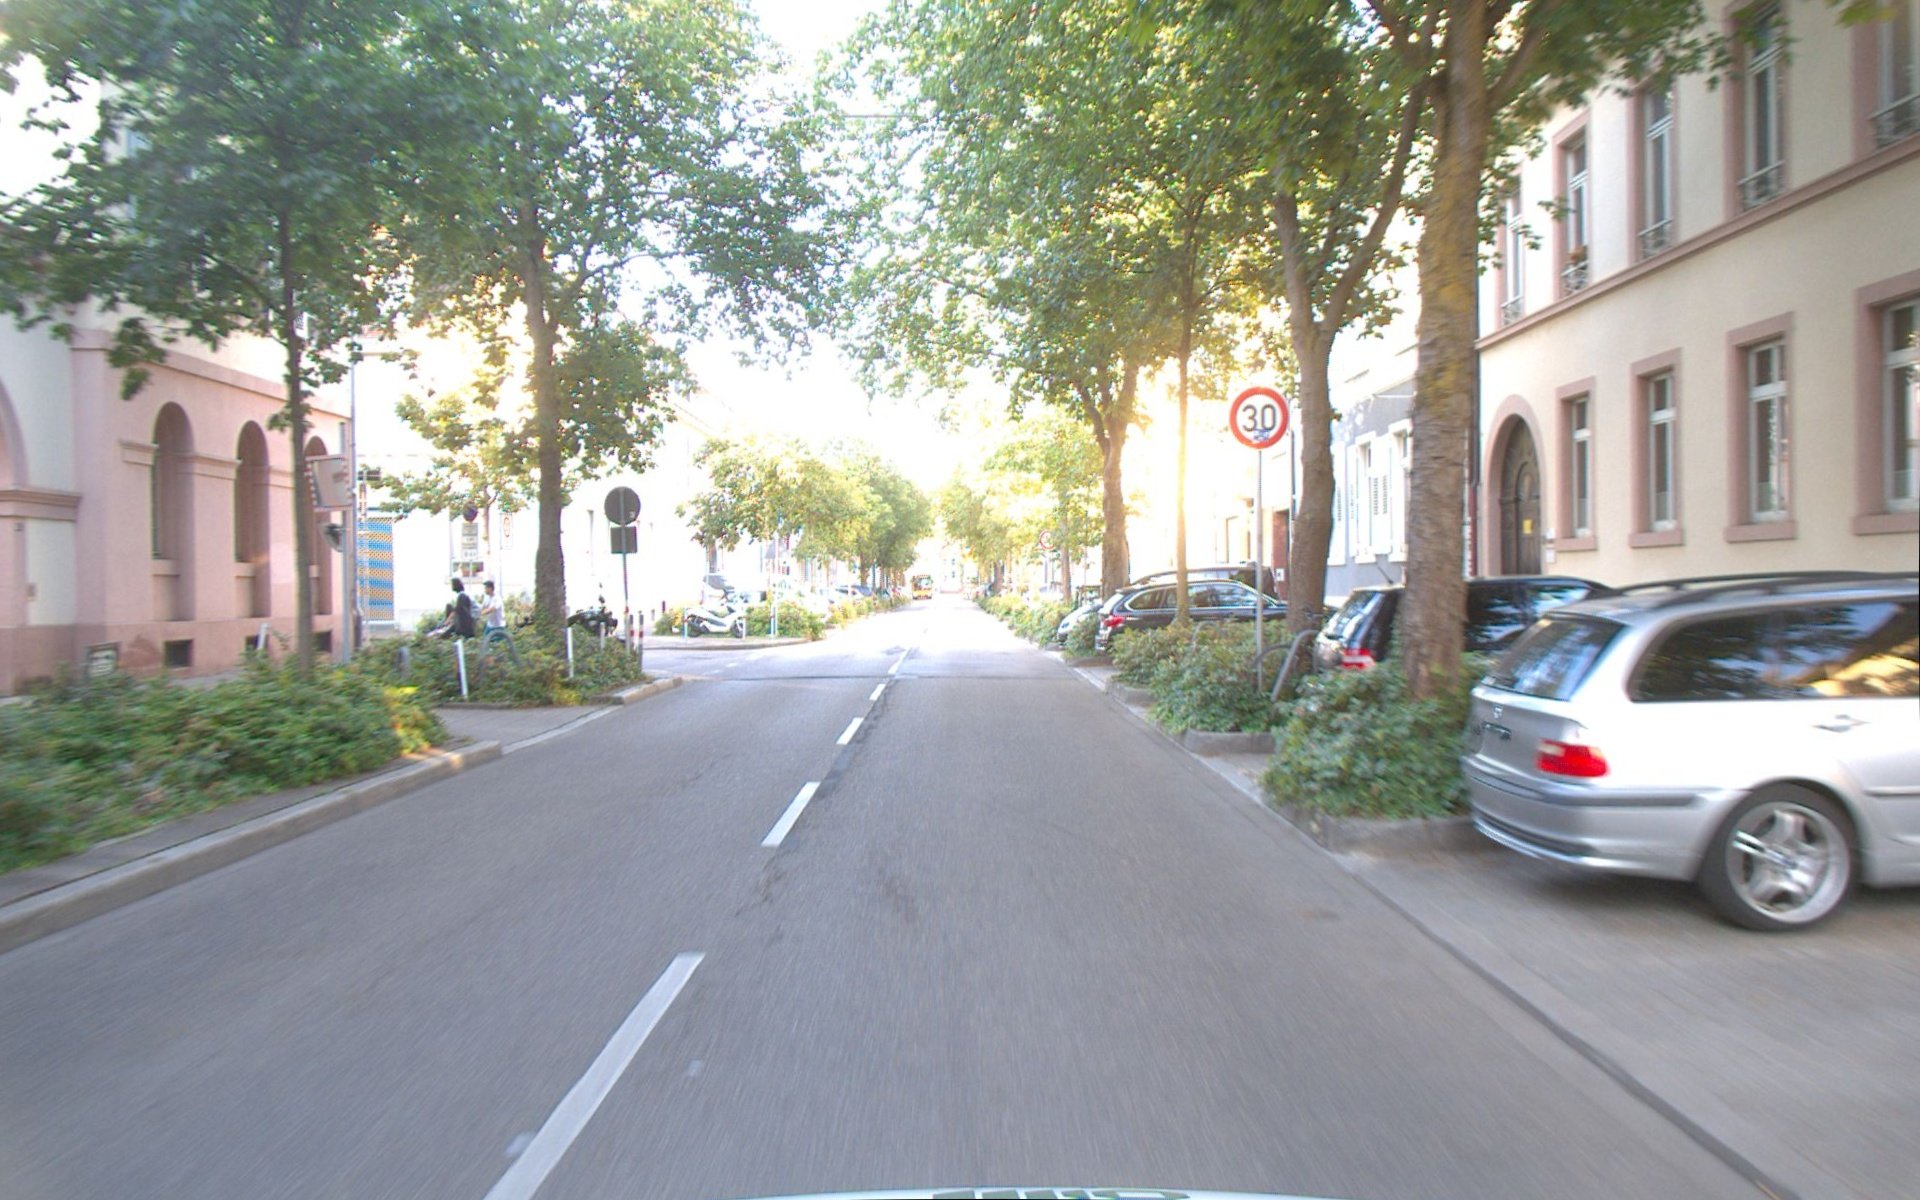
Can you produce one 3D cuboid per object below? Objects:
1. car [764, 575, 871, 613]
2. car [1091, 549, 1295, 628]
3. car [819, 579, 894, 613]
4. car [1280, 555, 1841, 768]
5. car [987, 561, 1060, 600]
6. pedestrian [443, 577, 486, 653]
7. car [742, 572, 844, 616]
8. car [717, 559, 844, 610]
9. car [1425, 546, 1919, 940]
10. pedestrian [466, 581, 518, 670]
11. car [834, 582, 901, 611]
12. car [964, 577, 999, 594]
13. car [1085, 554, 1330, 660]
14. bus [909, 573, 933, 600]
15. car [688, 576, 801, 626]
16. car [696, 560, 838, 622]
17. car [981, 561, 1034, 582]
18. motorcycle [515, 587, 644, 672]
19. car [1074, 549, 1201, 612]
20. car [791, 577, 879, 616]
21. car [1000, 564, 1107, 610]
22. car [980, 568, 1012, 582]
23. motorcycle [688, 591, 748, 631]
[{"bbox_3d":[-6.984,-0.301,81.618,4.958,1.645,2.264,-2,1,3],"label":"car"},{"bbox_3d":[4.800,-0.257,34.449,3.933,1.443,1.780,-2,1,-2],"label":"car"},{"bbox_3d":[-7.105,-0.307,113.883,4.960,2.119,2.263,-2,1,1],"label":"car"},{"bbox_3d":[4.787,0.450,13.570,3.933,1.506,1.780,-2,1,-2],"label":"car"},{"bbox_3d":[3.498,-1.064,90.997,3.904,2.048,2.001,-1,1,3],"label":"car"},{"bbox_3d":[-9.384,0.279,31.331,0.641,1.419,0.607,0,0,-1],"label":"pedestrian"},{"bbox_3d":[-8.615,-0.327,85.778,4.959,2.119,2.264,-2,1,1],"label":"car"},{"bbox_3d":[-7.503,-0.683,69.590,4.959,1.855,2.264,-2,4,1],"label":"car"},{"bbox_3d":[4.507,0.517,7.721,4.107,1.505,1.852,-3,1,0],"label":"car"},{"bbox_3d":[-9.158,0.486,32.399,0.703,1.693,0.838,-2,1,2],"label":"pedestrian"},{"bbox_3d":[-7.227,-0.292,129.474,4.960,2.119,2.263,-2,1,1],"label":"car"},{"bbox_3d":[2.537,-1.674,194.038,3.902,1.870,2.002,-1,1,7],"label":"car"},{"bbox_3d":[4.257,0.096,28.838,3.933,1.651,1.780,-2,1,-2],"label":"car"},{"bbox_3d":[-4.896,-1.795,208.687,2.966,3.246,9.402,-1,1,-1],"label":"bus"},{"bbox_3d":[-7.281,0.023,56.156,3.652,1.534,1.872,-2,1,-4],"label":"car"},{"bbox_3d":[-7.146,-0.363,61.547,4.961,2.119,2.263,-2,1,-1],"label":"car"},{"bbox_3d":[3.624,-2.170,126.494,3.907,1.467,1.696,-2,1,-2],"label":"car"},{"bbox_3d":[-6.059,0.467,26.368,1.880,1.280,0.591,-2,1,-1],"label":"motorcycle"},{"bbox_3d":[5.103,-0.573,47.876,3.540,1.655,1.586,-2,1,2],"label":"car"},{"bbox_3d":[-7.384,-0.226,97.877,4.960,2.119,2.263,-2,1,1],"label":"car"},{"bbox_3d":[4.040,-0.577,71.808,4.498,1.792,2.222,-2,1,0],"label":"car"},{"bbox_3d":[4.691,-3.269,216.571,3.902,1.802,2.002,-1,1,8],"label":"car"},{"bbox_3d":[-6.863,0.303,46.968,1.603,1.087,0.656,-1,1,-1],"label":"motorcycle"}]
